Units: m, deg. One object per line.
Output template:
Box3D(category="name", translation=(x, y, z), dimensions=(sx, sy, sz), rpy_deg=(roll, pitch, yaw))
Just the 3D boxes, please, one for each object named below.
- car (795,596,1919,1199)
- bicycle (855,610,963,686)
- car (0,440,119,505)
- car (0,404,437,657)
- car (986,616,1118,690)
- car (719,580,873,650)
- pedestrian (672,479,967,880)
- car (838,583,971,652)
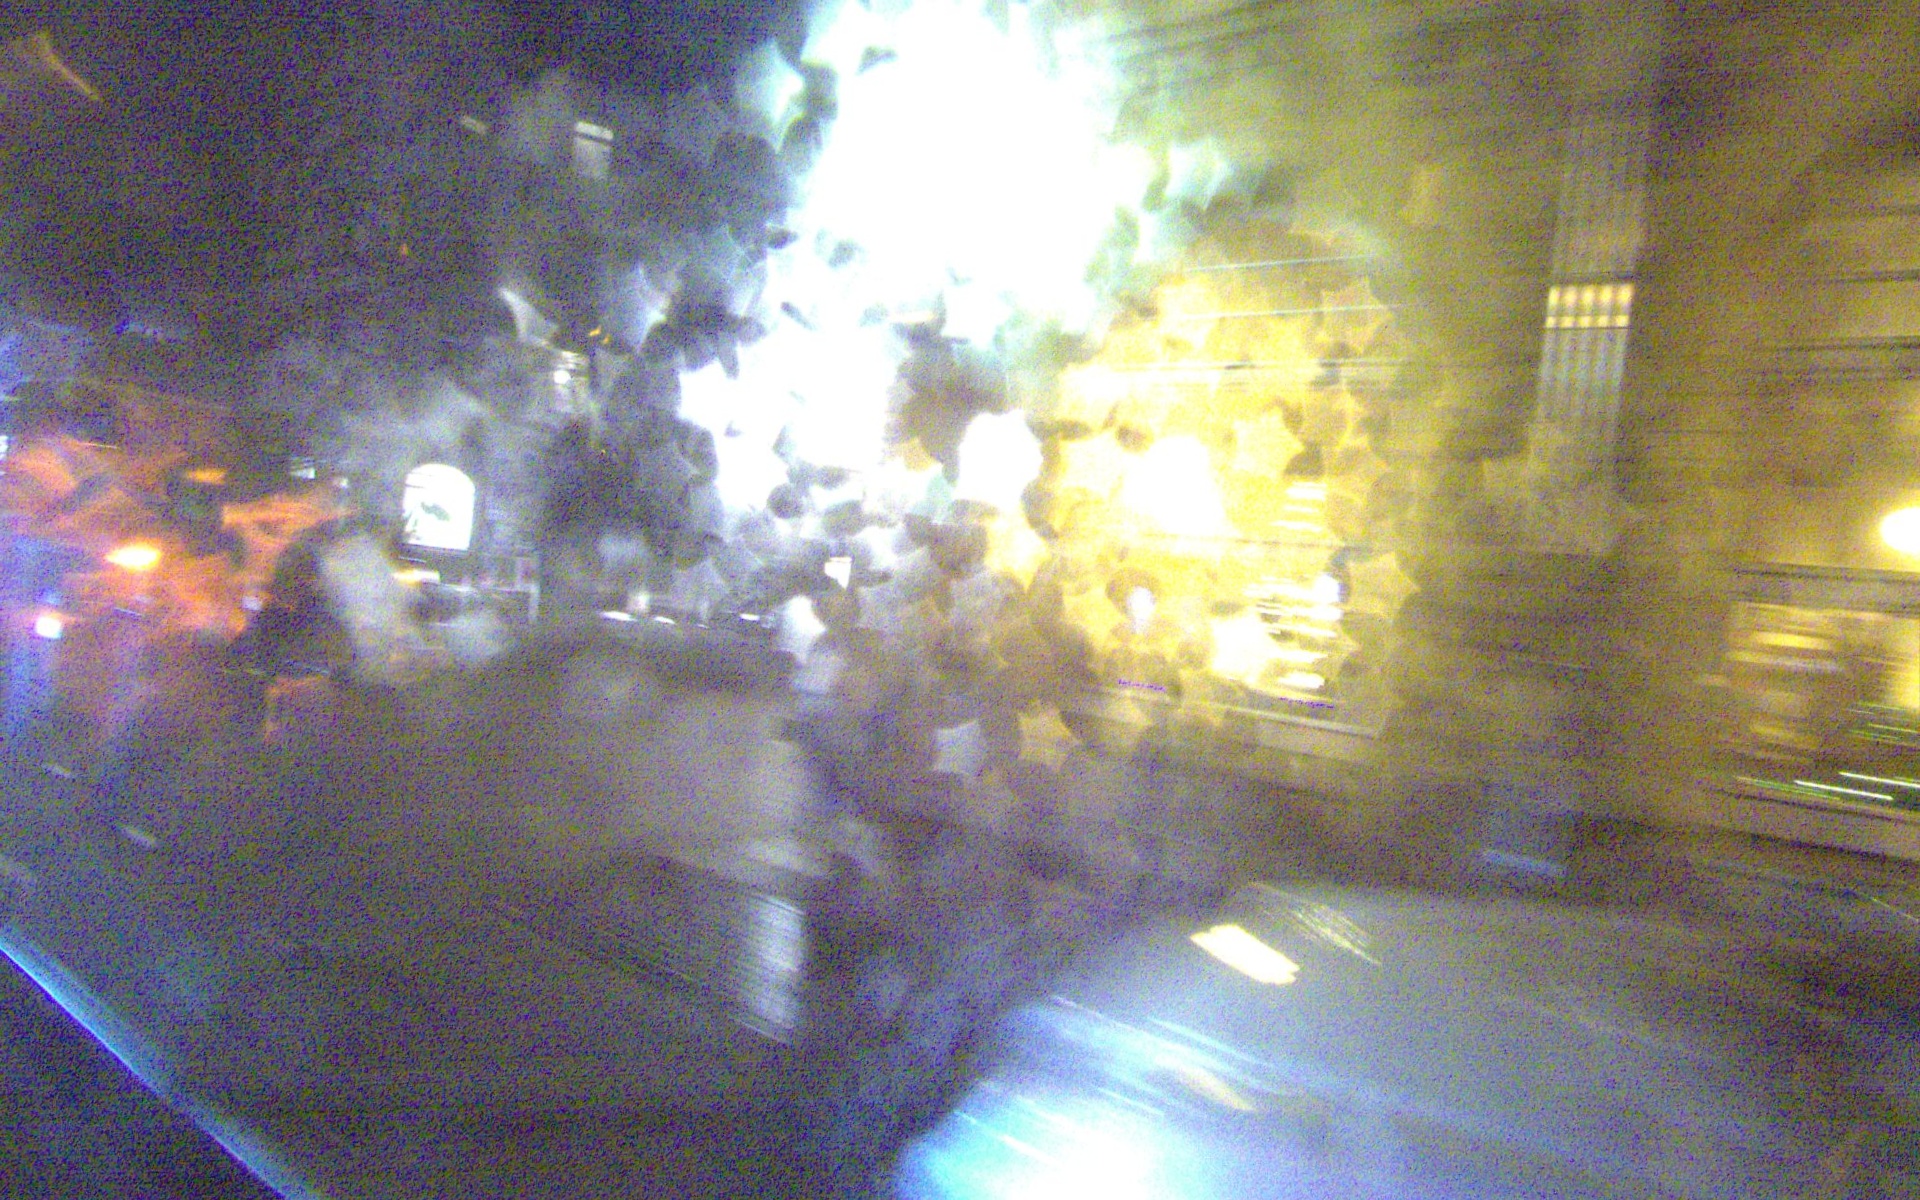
Box3D(category="car", translation=(1.925, 0.958, 1.320), dimensions=(3.933, 1.429, 1.919), rpy_deg=(7, 0, 31))
Box3D(category="bicycle", translation=(-0.944, 0.857, 18.282), dimensions=(1.954, 1.128, 0.506), rpy_deg=(6, -2, 37))
Box3D(category="car", translation=(-33.671, -4.714, 37.327), dimensions=(1.704, 1.631, 3.466), rpy_deg=(7, -2, 4))
Box3D(category="car", translation=(-8.187, -0.612, 11.090), dimensions=(1.964, 2.074, 4.695), rpy_deg=(7, 0, 4))
Box3D(category="car", translation=(2.241, 1.300, 23.903), dimensions=(1.584, 1.476, 3.407), rpy_deg=(7, 0, 33))
Box3D(category="car", translation=(-4.413, 0.474, 27.786), dimensions=(1.740, 1.521, 4.415), rpy_deg=(7, 0, 28))
Box3D(category="pedestrian", translation=(-0.737, 0.353, 5.271), dimensions=(1.066, 1.812, 0.862), rpy_deg=(8, 3, 35))
Box3D(category="car", translation=(-1.680, 0.610, 32.371), dimensions=(1.968, 1.764, 4.688), rpy_deg=(7, 0, 28))
